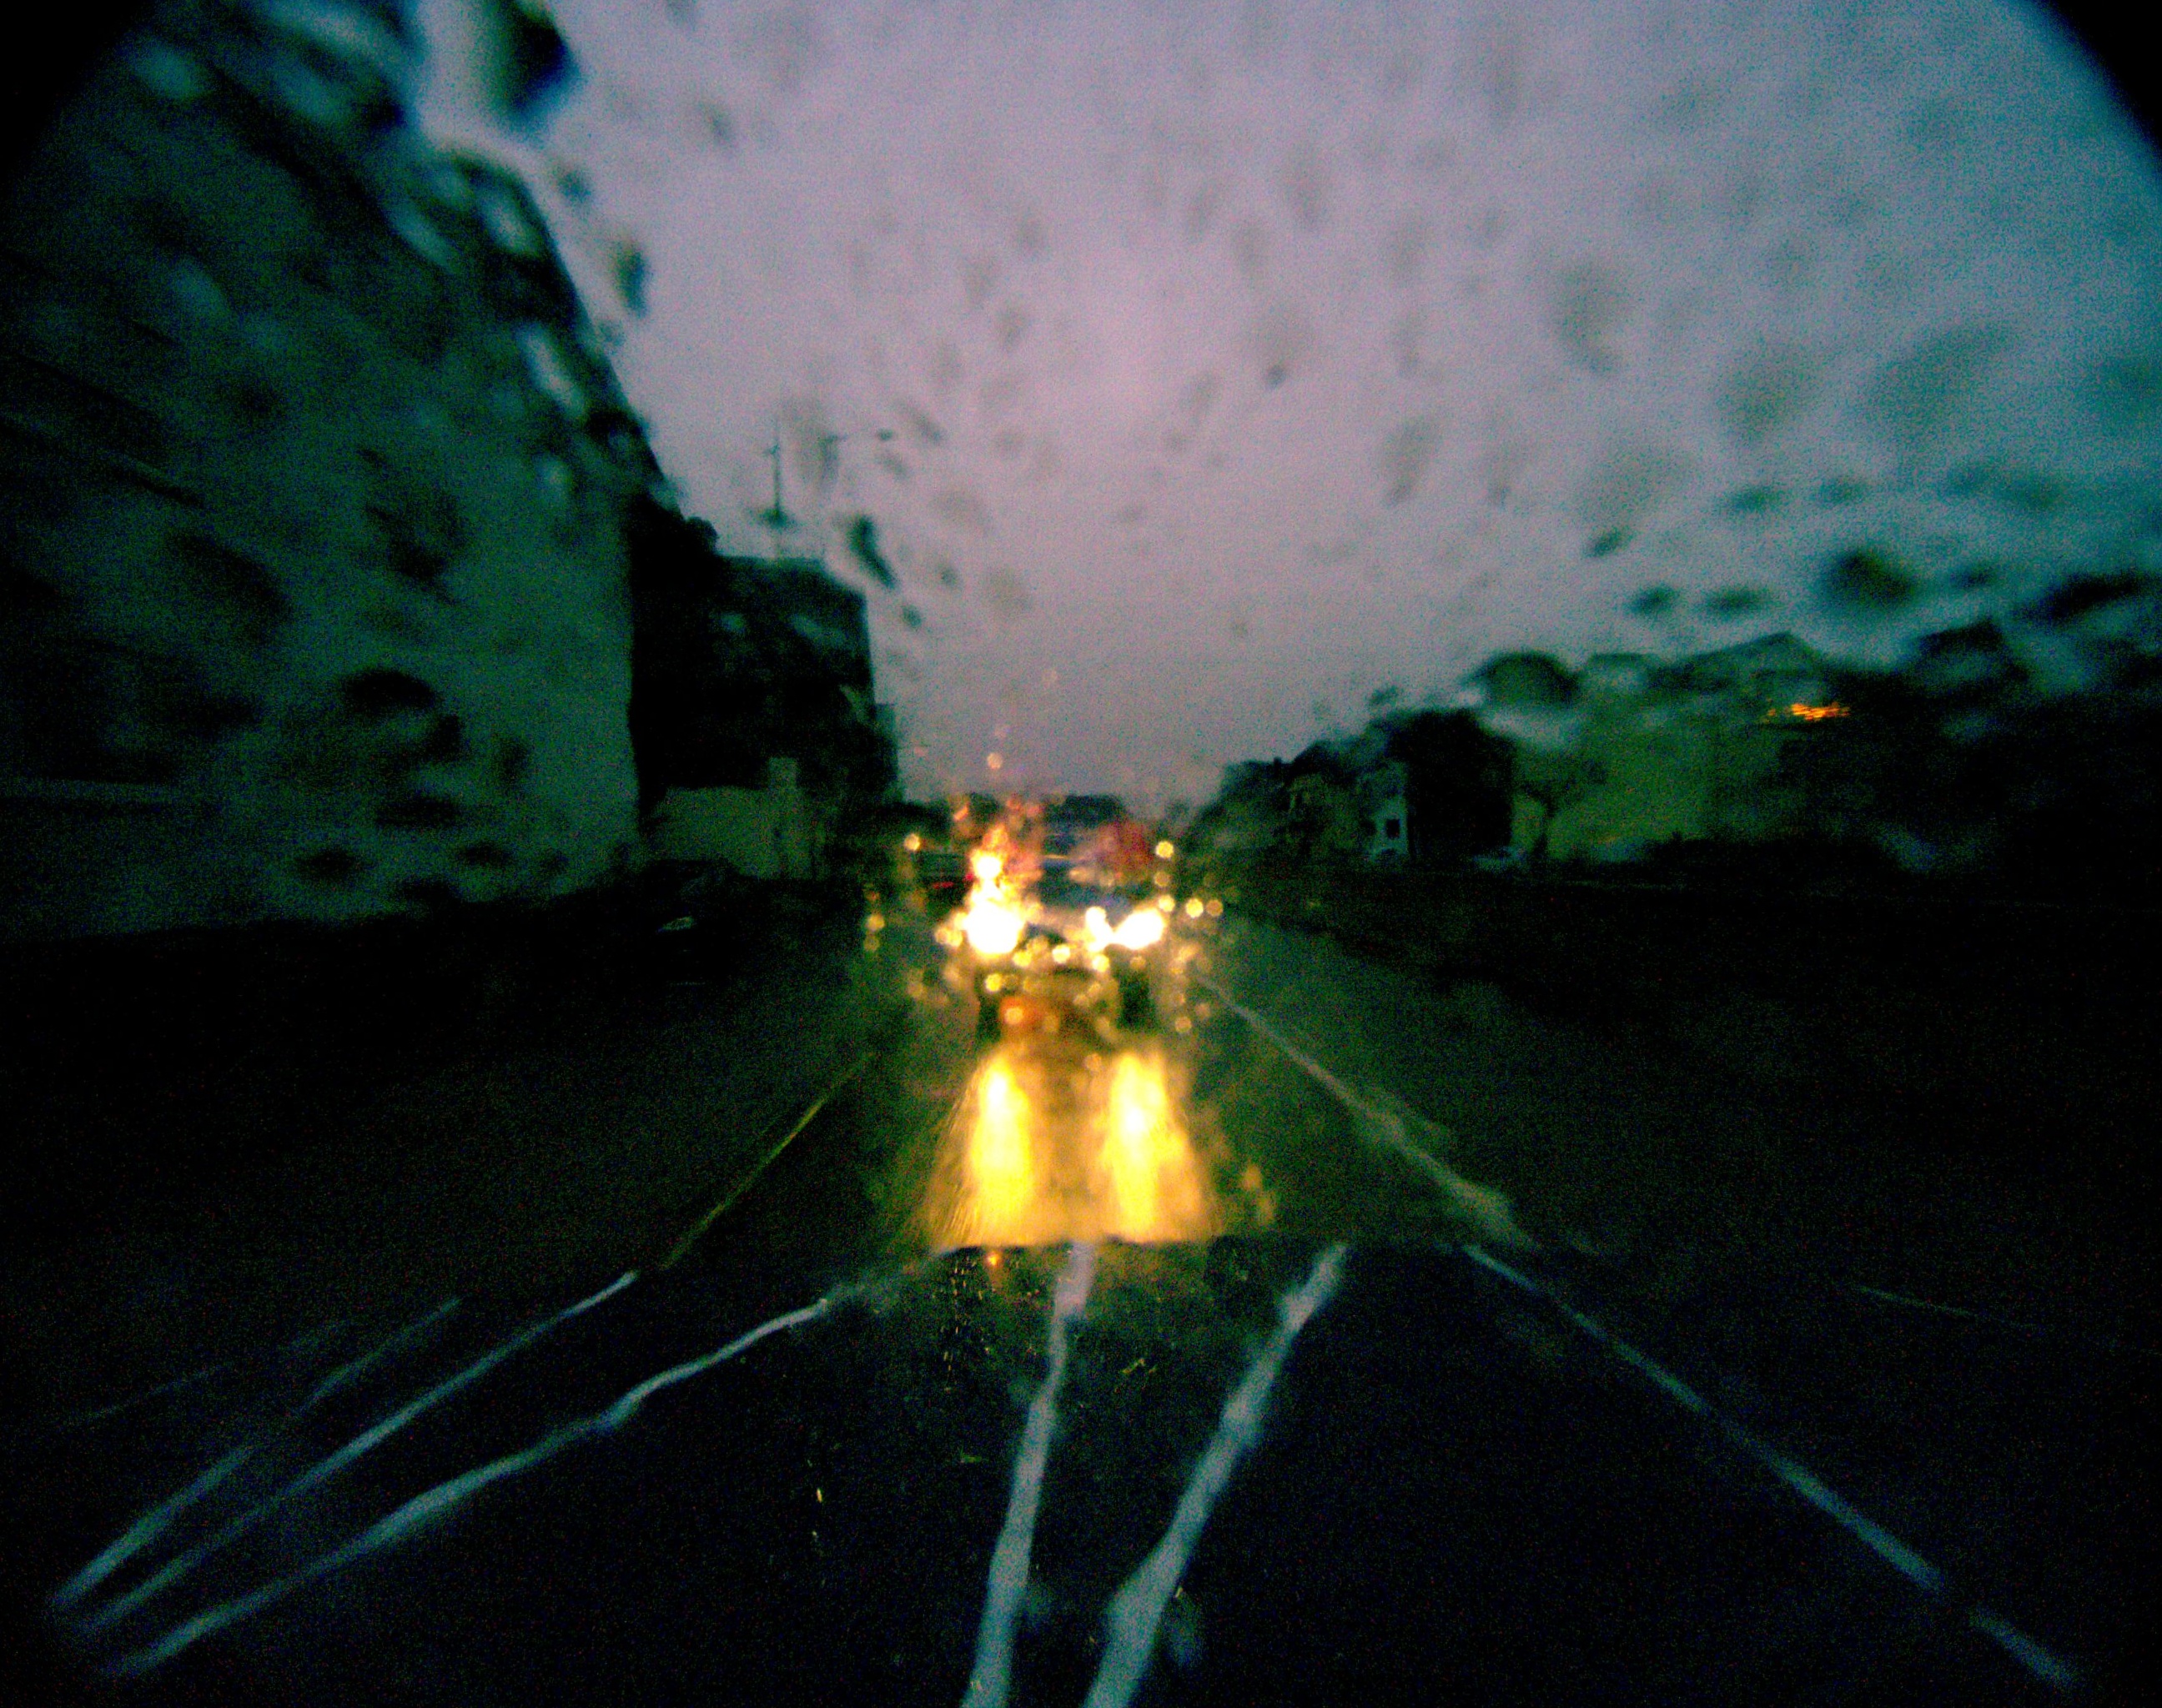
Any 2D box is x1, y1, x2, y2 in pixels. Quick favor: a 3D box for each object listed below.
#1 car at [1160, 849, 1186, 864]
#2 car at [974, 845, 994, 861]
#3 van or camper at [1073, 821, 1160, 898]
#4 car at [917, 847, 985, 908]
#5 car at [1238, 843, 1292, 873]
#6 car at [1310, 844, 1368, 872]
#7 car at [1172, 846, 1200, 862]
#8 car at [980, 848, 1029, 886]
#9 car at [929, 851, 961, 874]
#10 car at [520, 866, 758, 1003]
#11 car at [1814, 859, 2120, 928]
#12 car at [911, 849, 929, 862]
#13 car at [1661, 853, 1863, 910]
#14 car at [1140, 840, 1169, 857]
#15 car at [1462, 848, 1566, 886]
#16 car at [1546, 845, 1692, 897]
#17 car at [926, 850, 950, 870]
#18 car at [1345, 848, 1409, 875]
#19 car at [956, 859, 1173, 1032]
[{"bbox_3d":[10.457,0.272,86.490,1.903,1.509,3.995,-4,2,-9],"label":"car"},{"bbox_3d":[-10.263,-0.107,80.127,1.669,1.626,3.546,-2,1,-15],"label":"car"},{"bbox_3d":[1.186,0.162,29.498,2.247,2.653,6.550,0,0,-7],"label":"van or camper"},{"bbox_3d":[-4.138,0.698,24.732,1.775,1.771,3.998,2,0,-5],"label":"car"},{"bbox_3d":[11.583,0.188,48.055,1.806,1.793,3.856,-1,1,-12],"label":"car"},{"bbox_3d":[16.778,0.243,49.600,1.864,1.672,3.996,-3,1,-9],"label":"car"},{"bbox_3d":[11.277,-0.039,81.738,1.822,1.615,3.981,-4,1,-9],"label":"car"},{"bbox_3d":[-4.126,0.721,40.136,1.908,1.630,4.563,-7,-1,-12],"label":"car"},{"bbox_3d":[-10.195,0.602,56.732,1.964,1.524,5.002,-3,1,-14],"label":"car"},{"bbox_3d":[-5.697,0.920,10.360,1.772,1.385,3.908,1,0,-14],"label":"car"},{"bbox_3d":[20.835,0.847,18.240,1.879,1.425,4.499,1,0,-5],"label":"car"},{"bbox_3d":[-19.200,0.153,90.429,1.814,1.555,4.298,0,1,-15],"label":"car"},{"bbox_3d":[20.510,0.761,23.215,1.879,1.563,4.499,1,0,-5],"label":"car"},{"bbox_3d":[9.056,-0.692,93.916,2.001,1.894,4.351,-4,1,-15],"label":"car"},{"bbox_3d":[19.282,0.561,34.073,1.880,1.589,4.222,1,0,-7],"label":"car"},{"bbox_3d":[19.880,0.596,28.356,1.880,1.768,4.498,1,0,-7],"label":"car"},{"bbox_3d":[-11.940,0.458,63.362,1.671,1.567,4.490,-1,1,-14],"label":"car"},{"bbox_3d":[17.675,0.398,45.558,1.774,1.515,4.028,-1,1,-9],"label":"car"},{"bbox_3d":[-0.153,0.889,9.247,1.998,1.526,4.000,-3,0,0],"label":"car"}]
